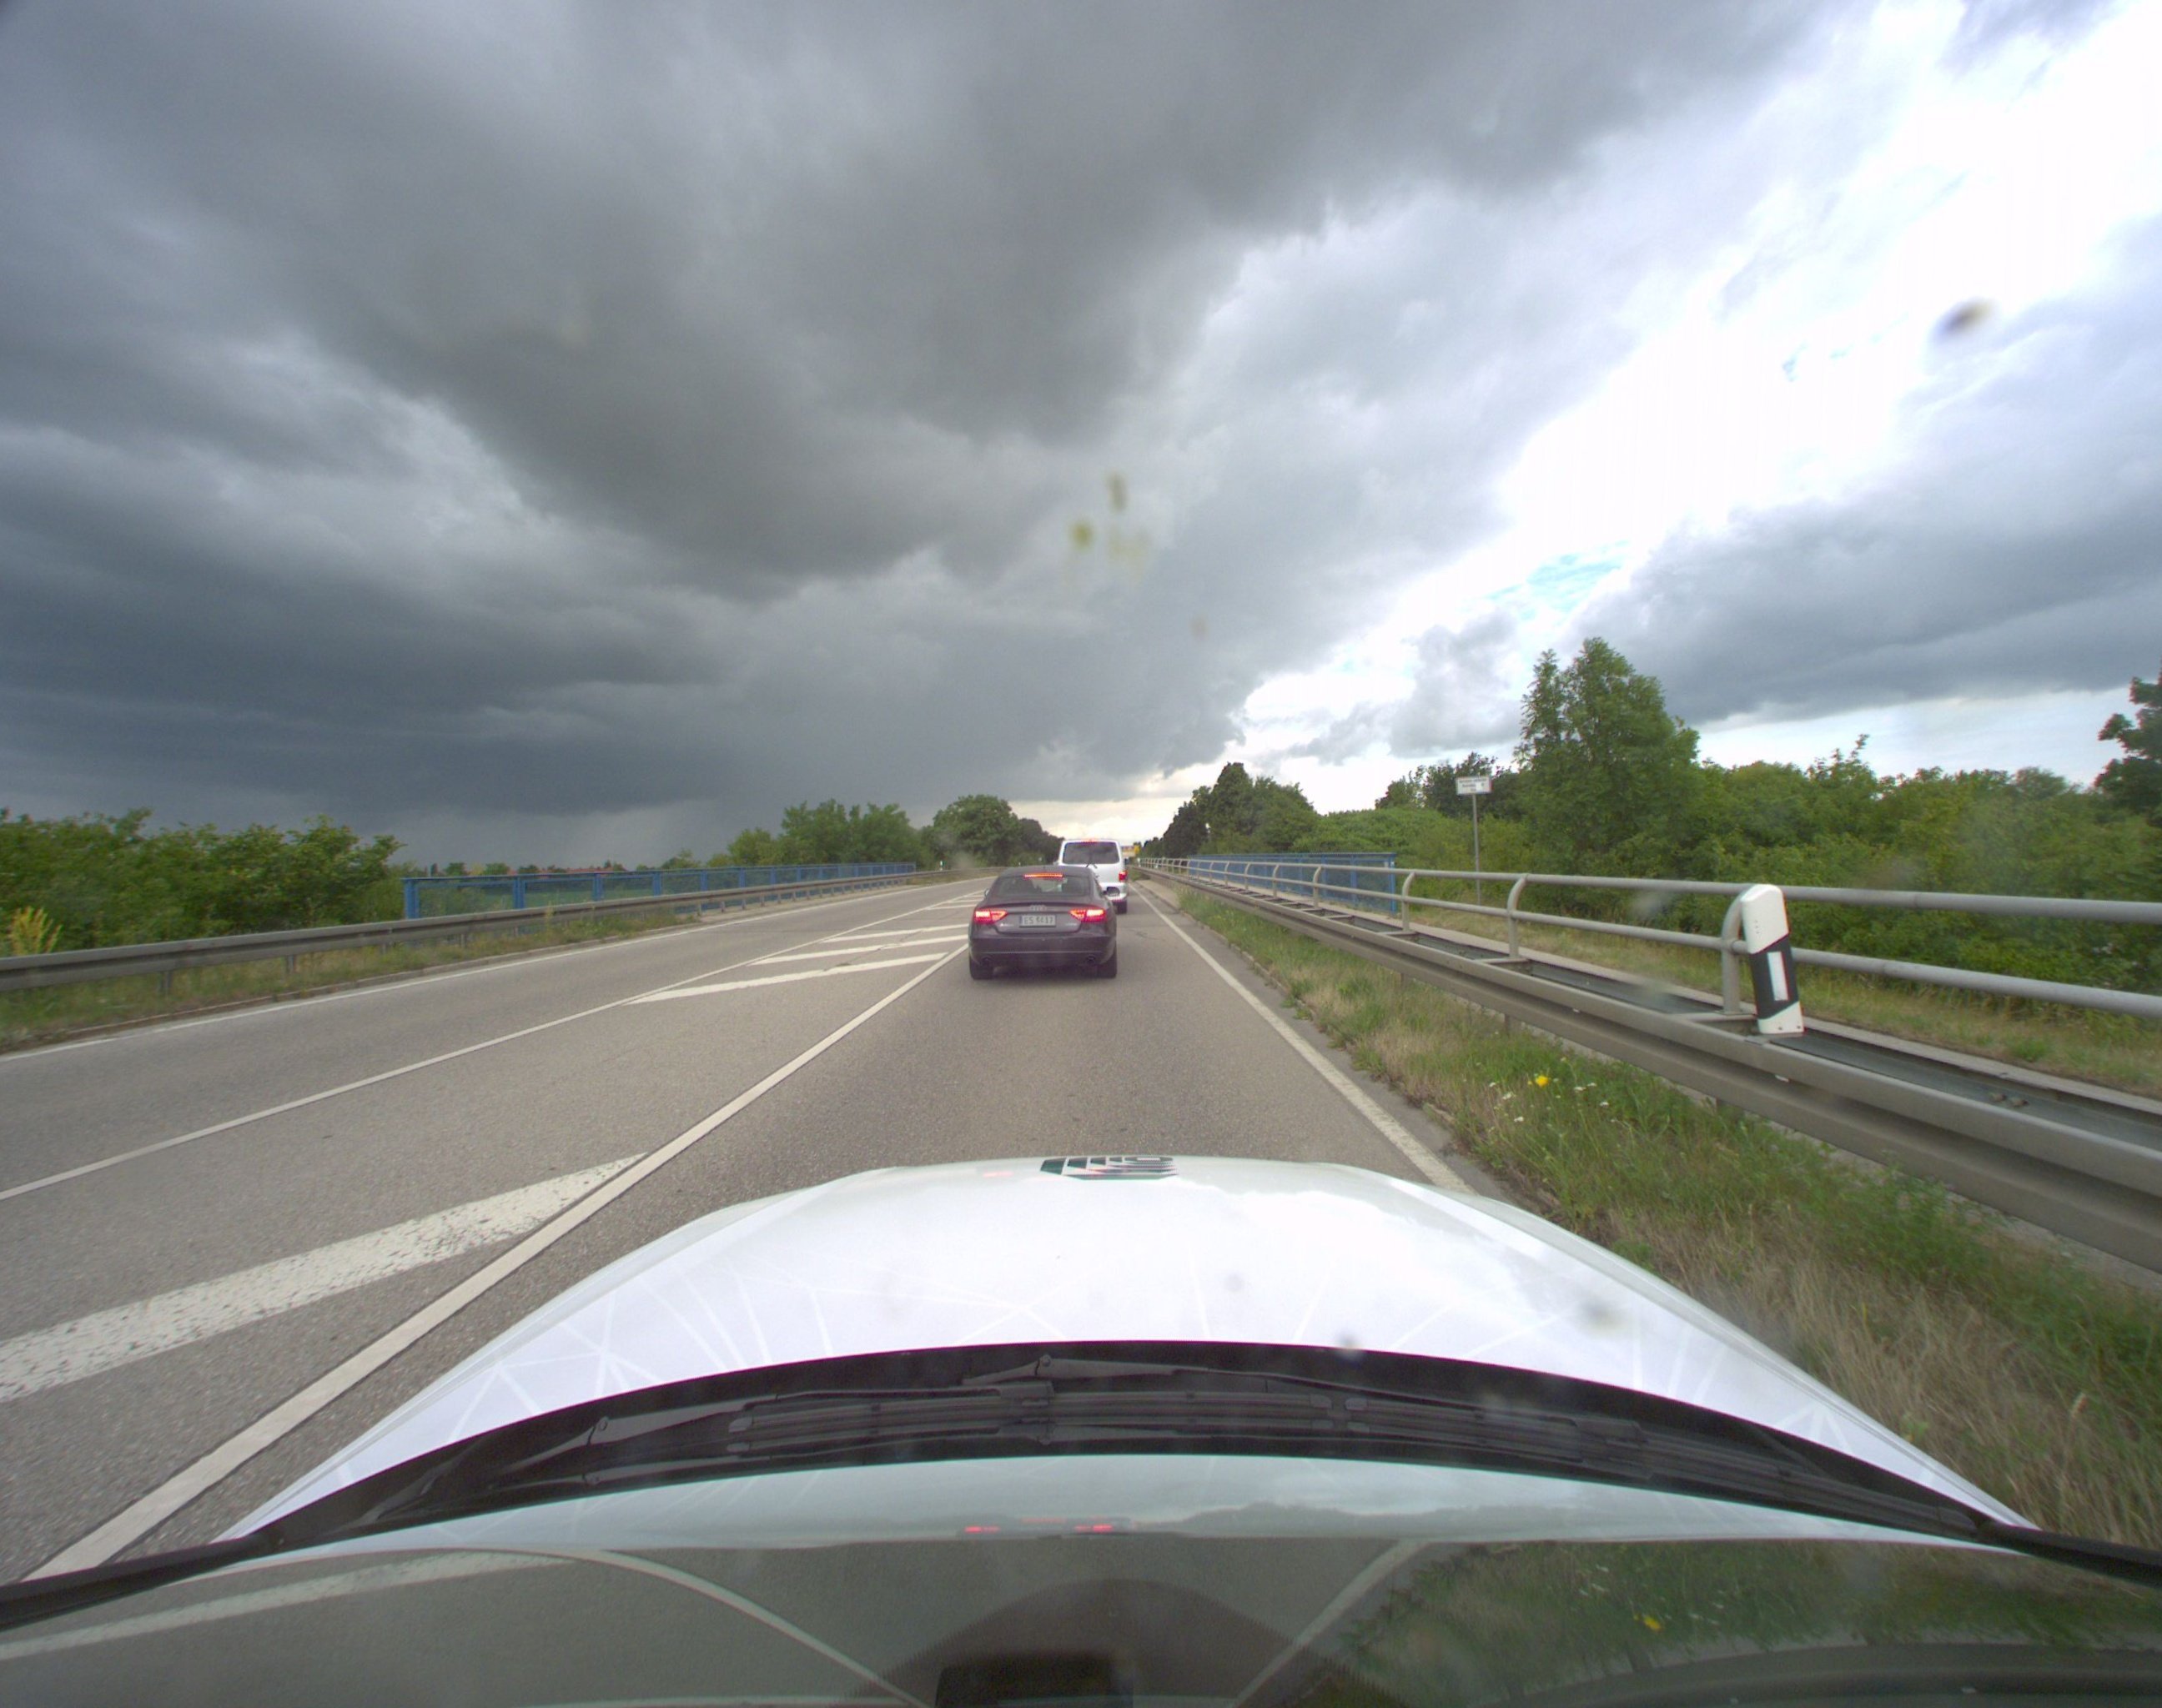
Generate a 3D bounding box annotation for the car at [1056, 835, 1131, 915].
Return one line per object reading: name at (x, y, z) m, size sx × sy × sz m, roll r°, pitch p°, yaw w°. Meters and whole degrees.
car at (0.348, 0.542, 22.374) m, size 1.822 × 1.935 × 4.001 m, roll -2°, pitch 0°, yaw 1°

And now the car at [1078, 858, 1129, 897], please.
car at (0.916, 0.863, 31.459) m, size 1.814 × 1.381 × 4.074 m, roll -1°, pitch 0°, yaw 2°

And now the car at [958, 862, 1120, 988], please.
car at (-0.384, 0.819, 11.193) m, size 1.814 × 1.381 × 4.074 m, roll -1°, pitch 0°, yaw 2°
